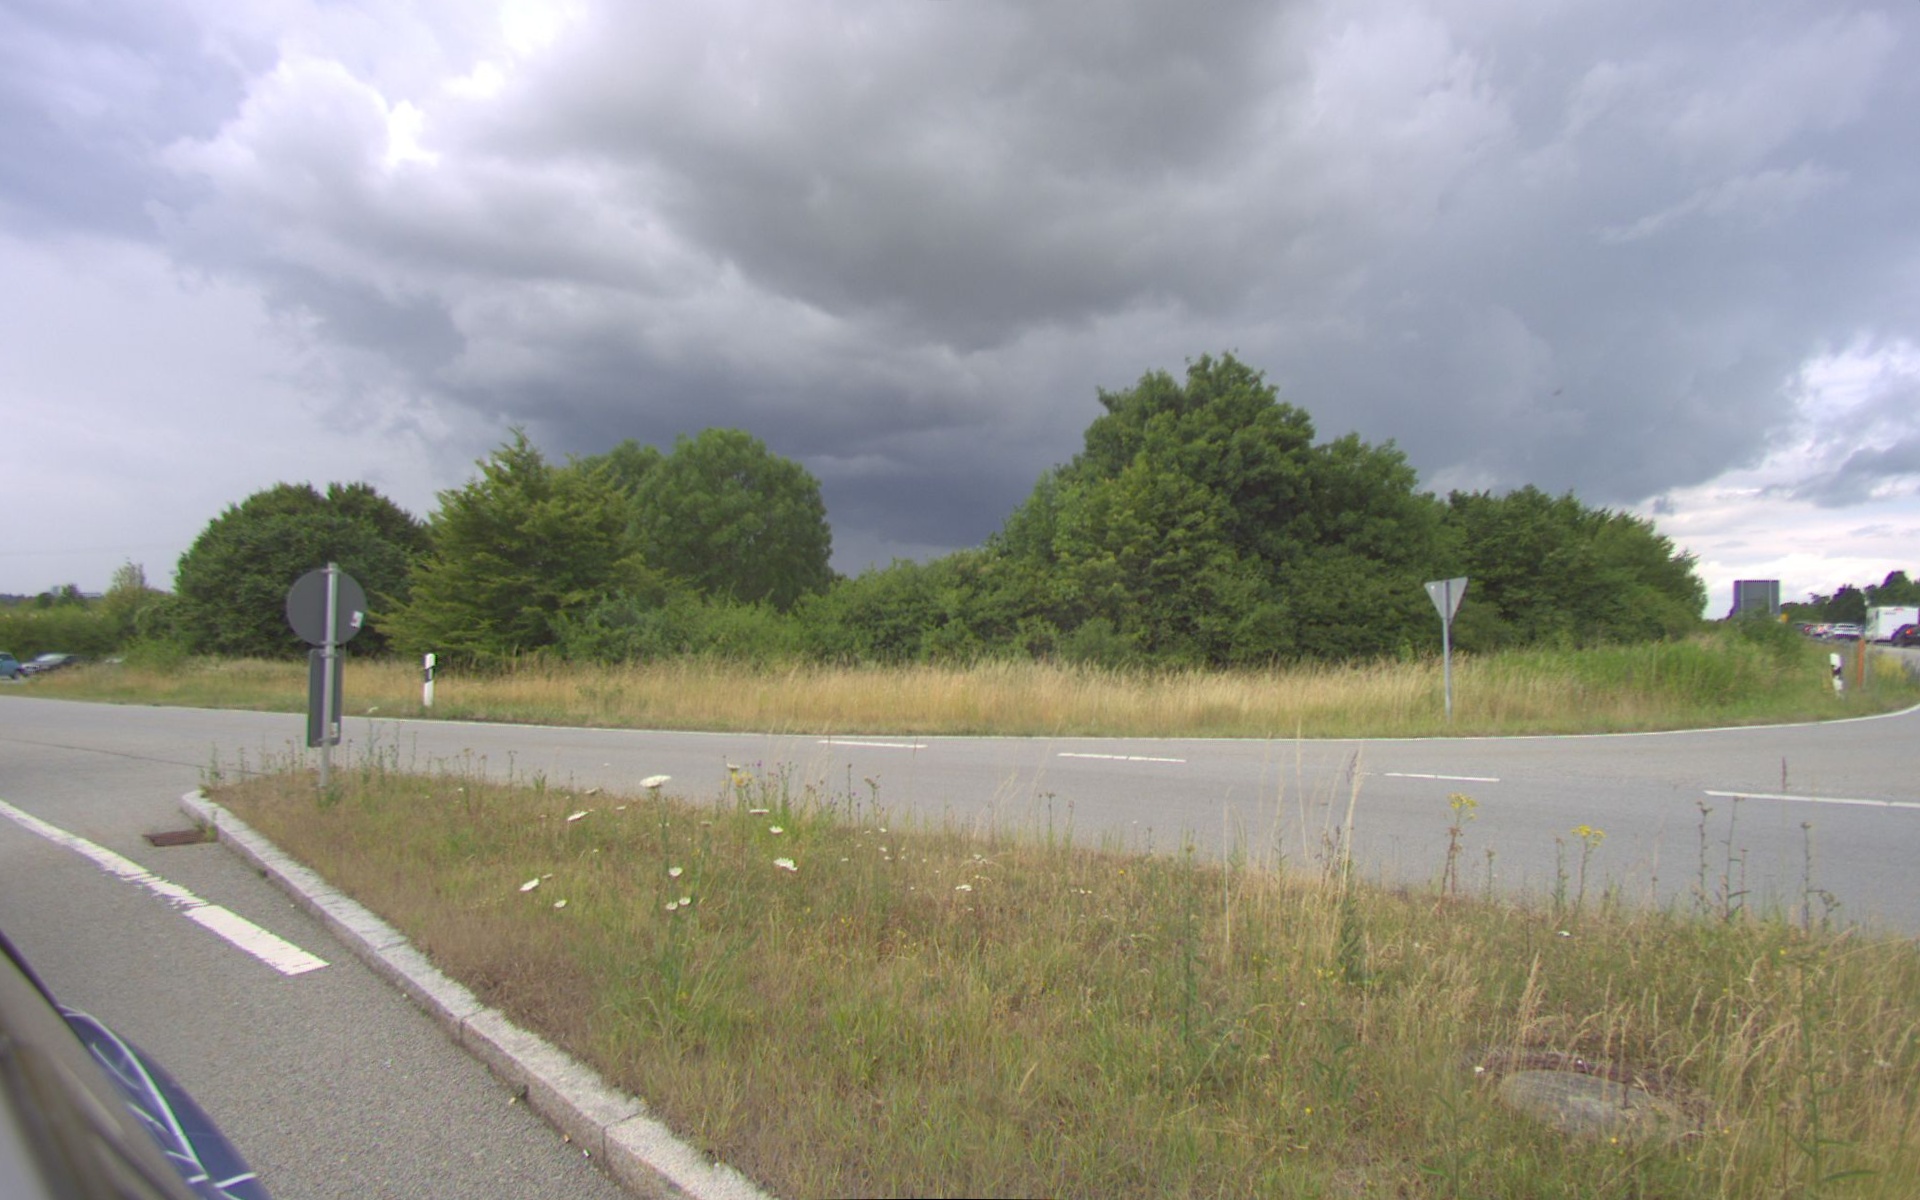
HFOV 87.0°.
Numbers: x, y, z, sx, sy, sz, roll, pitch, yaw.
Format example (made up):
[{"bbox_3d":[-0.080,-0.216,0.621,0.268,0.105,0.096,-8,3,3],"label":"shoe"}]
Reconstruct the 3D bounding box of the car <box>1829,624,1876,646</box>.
[{"bbox_3d":[79.539,3.109,90.294,2.333,1.936,4.822,0,-2,32],"label":"car"}]

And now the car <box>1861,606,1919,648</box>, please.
[{"bbox_3d":[70.995,2.065,77.108,2.333,3.052,6.486,0,-2,32],"label":"car"}]

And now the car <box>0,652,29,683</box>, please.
[{"bbox_3d":[-52.439,3.645,54.426,1.791,1.544,4.011,1,-2,-16],"label":"car"}]

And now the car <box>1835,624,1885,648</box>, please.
[{"bbox_3d":[75.268,3.041,84.721,2.334,1.936,4.821,0,-2,33],"label":"car"}]

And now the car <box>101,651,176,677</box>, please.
[{"bbox_3d":[-54.203,4.187,66.863,1.795,1.544,4.003,1,-2,-4],"label":"car"}]

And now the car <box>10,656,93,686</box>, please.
[{"bbox_3d":[-53.548,4.165,59.758,1.793,1.544,4.008,1,-2,-10],"label":"car"}]

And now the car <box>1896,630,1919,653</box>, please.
[{"bbox_3d":[65.734,2.837,69.213,1.843,1.537,3.954,-1,-2,34],"label":"car"}]
